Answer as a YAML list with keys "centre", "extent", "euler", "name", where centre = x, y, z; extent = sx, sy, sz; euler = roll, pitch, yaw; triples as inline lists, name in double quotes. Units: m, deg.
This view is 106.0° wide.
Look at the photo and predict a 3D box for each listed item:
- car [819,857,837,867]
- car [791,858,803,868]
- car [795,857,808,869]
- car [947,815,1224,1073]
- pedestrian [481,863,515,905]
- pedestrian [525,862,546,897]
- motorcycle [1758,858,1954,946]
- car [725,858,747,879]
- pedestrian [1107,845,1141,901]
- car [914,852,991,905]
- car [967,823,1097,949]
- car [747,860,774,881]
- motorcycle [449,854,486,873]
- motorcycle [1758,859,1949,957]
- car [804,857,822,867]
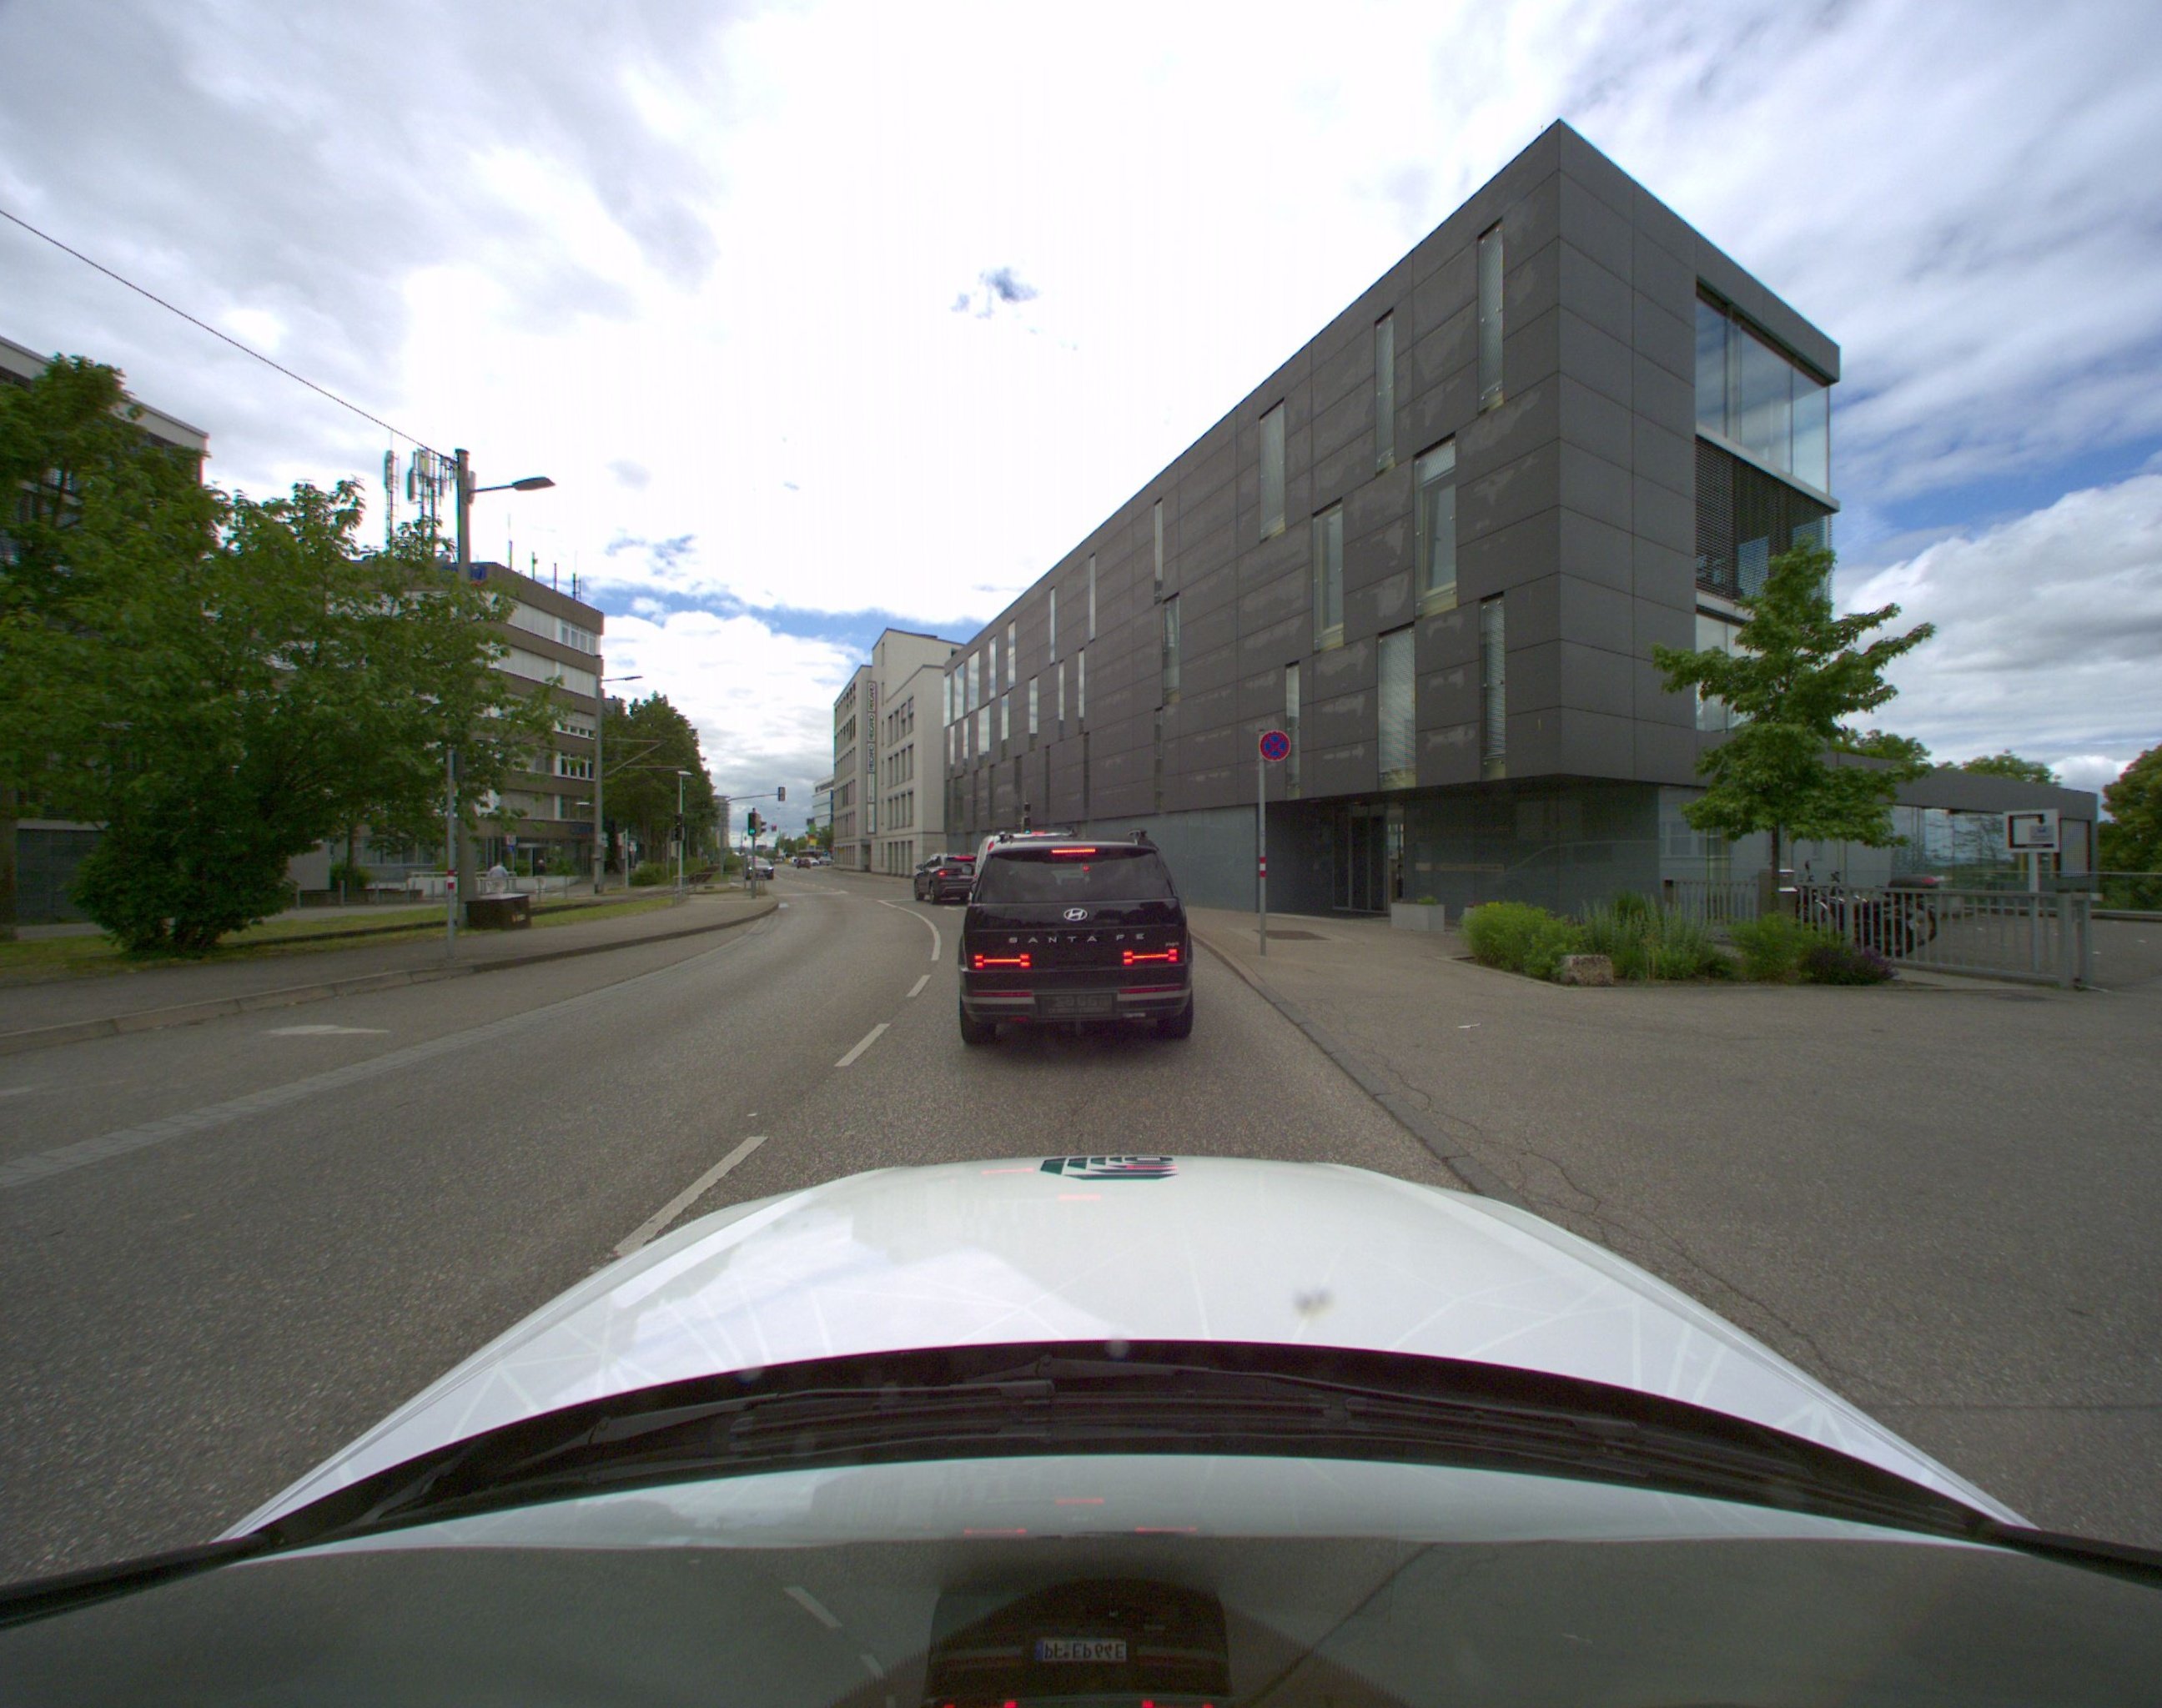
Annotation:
- centre: [-45.676, 1.415, 146.783]
  extent: [2.009, 1.852, 3.956]
  euler: [0, 0, -35]
  name: "car"
- centre: [-47.951, 1.504, 137.557]
  extent: [1.765, 1.609, 4.159]
  euler: [0, 0, -20]
  name: "car"
- centre: [-41.515, 1.329, 120.832]
  extent: [1.765, 1.609, 4.159]
  euler: [0, 0, -20]
  name: "car"
- centre: [-0.114, 0.620, 7.882]
  extent: [1.905, 1.749, 4.390]
  euler: [-1, 0, -4]
  name: "car"
- centre: [-21.917, 1.126, 30.634]
  extent: [0.852, 1.526, 0.987]
  euler: [-2, 0, -25]
  name: "pedestrian"
- centre: [-26.755, 1.247, 39.929]
  extent: [0.690, 1.705, 0.678]
  euler: [-2, 0, -21]
  name: "pedestrian"
- centre: [13.331, 0.766, 14.147]
  extent: [0.669, 1.393, 2.449]
  euler: [0, 0, -17]
  name: "motorcycle"
- centre: [-31.366, 1.305, 74.055]
  extent: [1.689, 1.808, 4.316]
  euler: [-2, 0, -25]
  name: "car"
- centre: [1.327, 0.584, 25.031]
  extent: [0.715, 1.694, 0.858]
  euler: [1, -1, -25]
  name: "pedestrian"
- centre: [-4.355, 0.747, 27.106]
  extent: [1.765, 1.609, 4.159]
  euler: [0, 0, -20]
  name: "car"
- centre: [-1.076, 0.502, 15.306]
  extent: [1.932, 1.994, 4.519]
  euler: [0, 0, -10]
  name: "car"
- centre: [-23.999, 1.207, 61.003]
  extent: [1.775, 1.479, 3.970]
  euler: [-2, 0, -22]
  name: "car"
- centre: [-40.467, 0.629, 53.761]
  extent: [1.878, 1.199, 0.566]
  euler: [-1, 0, -9]
  name: "motorcycle"
- centre: [11.944, 0.774, 12.702]
  extent: [0.669, 1.393, 2.112]
  euler: [0, 0, -17]
  name: "motorcycle"
- centre: [-47.778, 1.456, 145.286]
  extent: [2.009, 1.703, 3.956]
  euler: [0, 0, -36]
  name: "car"
